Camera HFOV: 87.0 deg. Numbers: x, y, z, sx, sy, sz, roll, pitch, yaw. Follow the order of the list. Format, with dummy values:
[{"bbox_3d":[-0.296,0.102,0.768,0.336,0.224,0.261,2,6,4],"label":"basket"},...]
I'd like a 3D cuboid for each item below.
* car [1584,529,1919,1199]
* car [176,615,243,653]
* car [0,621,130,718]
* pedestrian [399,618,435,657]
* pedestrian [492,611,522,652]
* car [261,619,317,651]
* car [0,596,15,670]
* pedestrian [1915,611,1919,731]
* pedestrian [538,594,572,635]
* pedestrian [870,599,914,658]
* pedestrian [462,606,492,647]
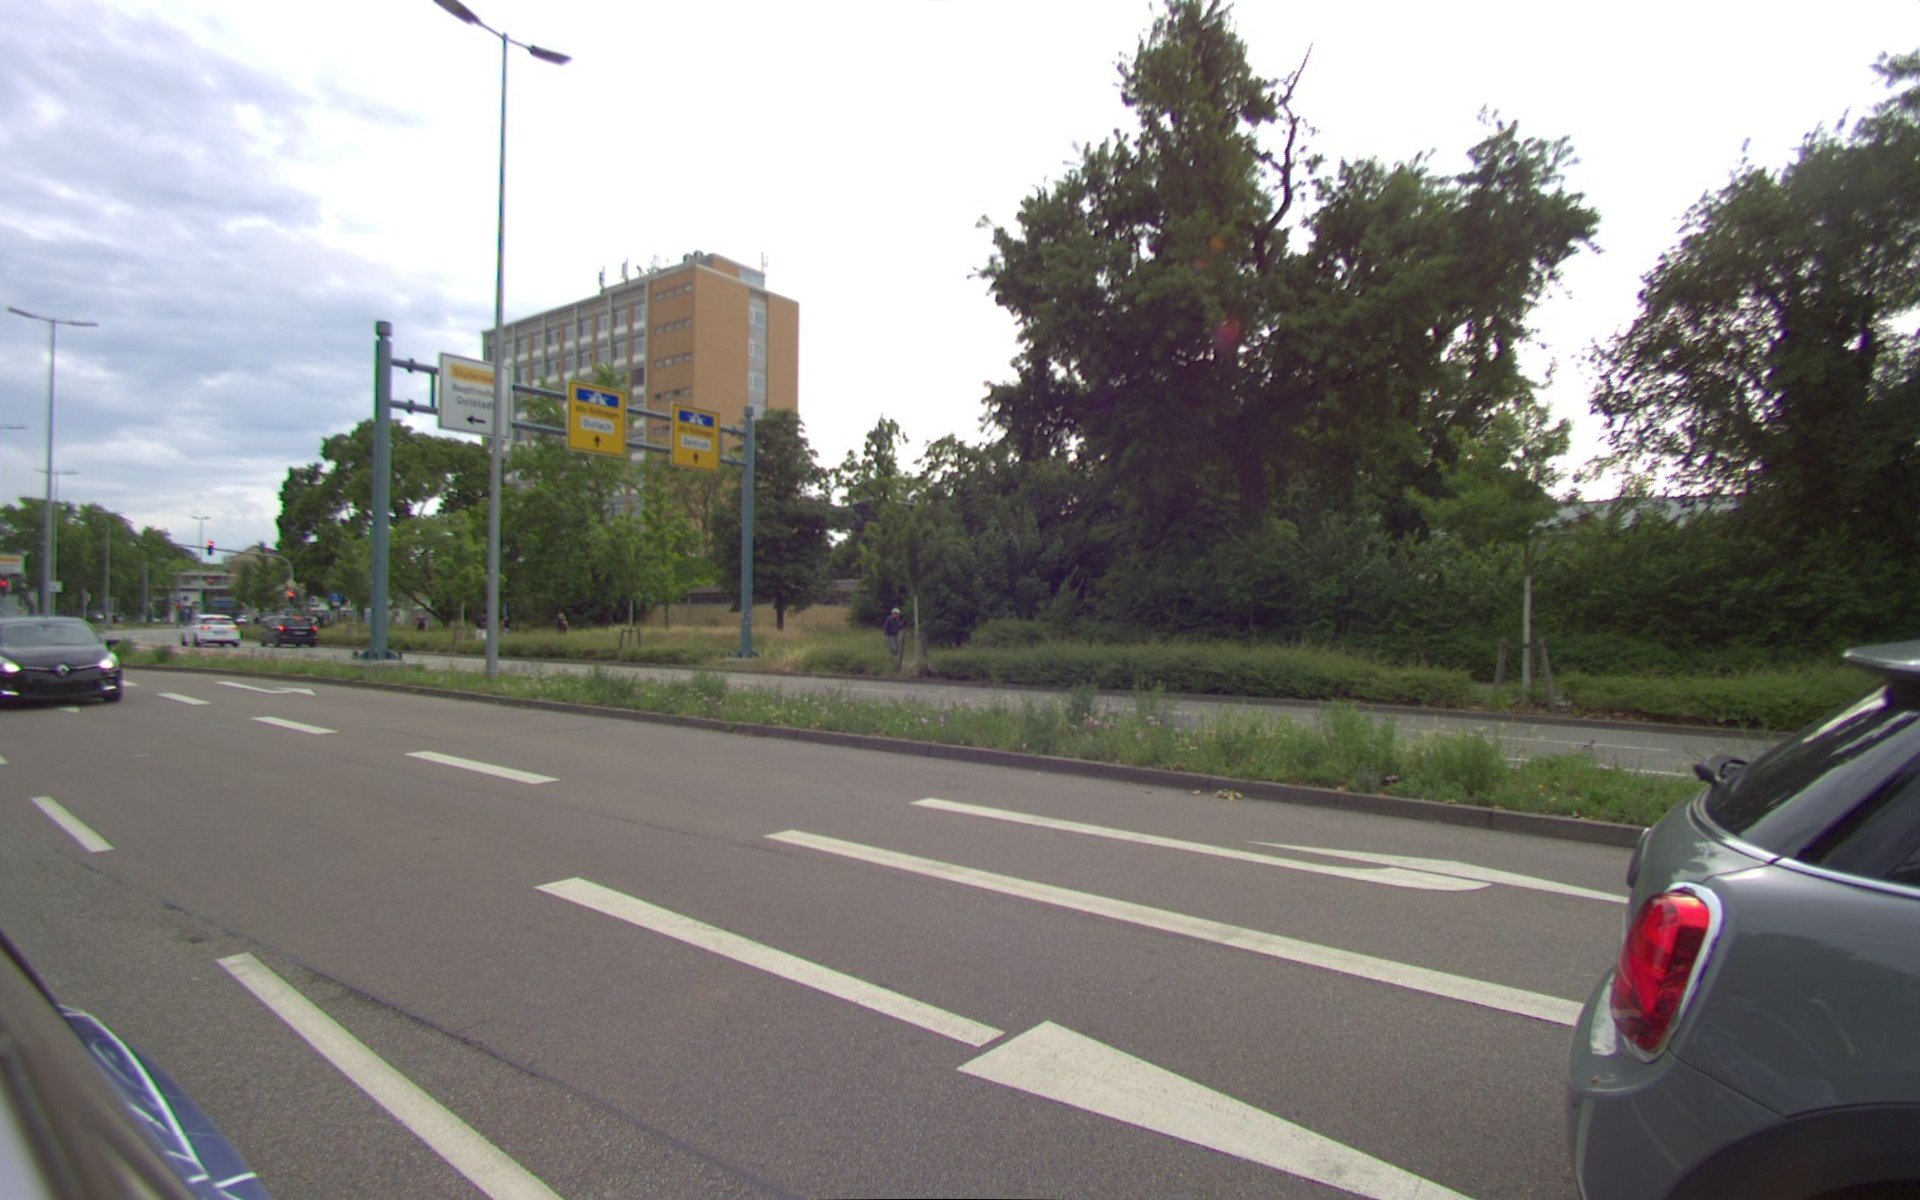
[{"bbox_3d":[2.919,0.572,1.013,3.703,1.328,1.604,-1,-2,41],"label":"car"},{"bbox_3d":[-37.856,1.677,51.036,3.997,1.786,1.869,0,0,41],"label":"car"},{"bbox_3d":[-15.643,1.100,17.201,3.998,1.470,1.709,-1,-2,41],"label":"car"},{"bbox_3d":[-29.231,2.021,54.468,1.519,2.029,1.208,-1,0,40],"label":"pedestrian"},{"bbox_3d":[-23.220,1.613,51.901,1.218,2.029,0.872,-1,0,33],"label":"pedestrian"},{"bbox_3d":[-34.771,1.767,52.382,1.828,1.564,4.005,1,-1,-42],"label":"car"},{"bbox_3d":[-28.037,0.901,28.265,3.998,2.029,1.973,-1,-2,41],"label":"car"},{"bbox_3d":[14.107,1.013,14.440,0.652,1.708,0.583,-1,0,40],"label":"pedestrian"},{"bbox_3d":[-19.607,0.695,48.972,1.163,1.933,1.122,-1,0,44],"label":"pedestrian"},{"bbox_3d":[-1.935,0.788,28.877,0.812,1.637,0.978,-1,0,38],"label":"pedestrian"},{"bbox_3d":[-24.580,1.351,51.488,1.218,2.029,0.872,-1,0,33],"label":"pedestrian"}]
